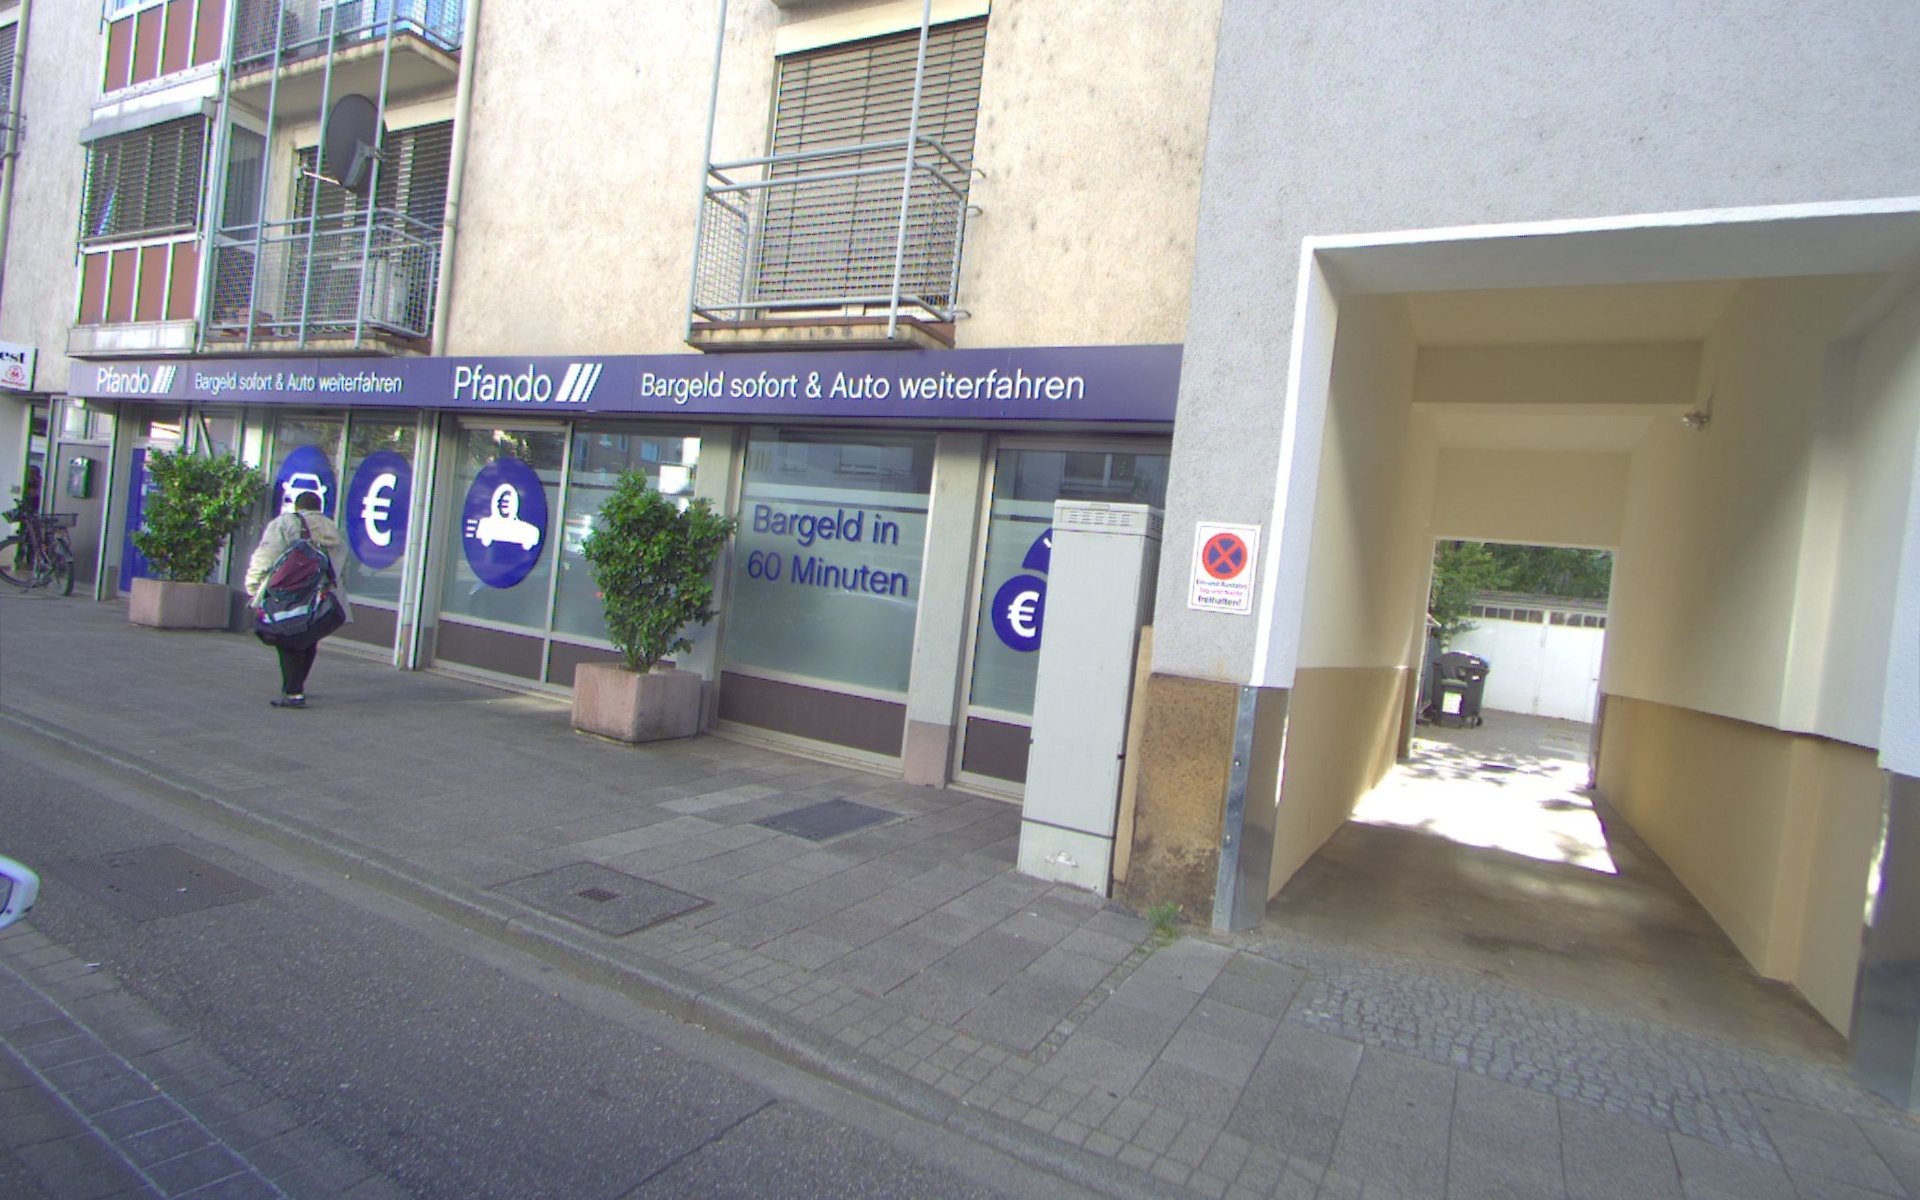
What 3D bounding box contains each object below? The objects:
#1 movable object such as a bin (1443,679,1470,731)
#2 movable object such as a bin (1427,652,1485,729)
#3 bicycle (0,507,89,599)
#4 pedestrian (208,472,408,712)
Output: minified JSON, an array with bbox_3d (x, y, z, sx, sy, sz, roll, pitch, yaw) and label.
[{"bbox_3d":[9.585,2.021,19.412,0.365,0.920,0.420,7,2,28],"label":"movable object such as a bin"},{"bbox_3d":[9.938,1.792,20.142,0.873,1.411,0.758,7,2,28],"label":"movable object such as a bin"},{"bbox_3d":[-11.859,-0.623,12.847,1.678,1.010,0.543,6,-1,32],"label":"bicycle"},{"bbox_3d":[-4.734,-0.040,7.328,0.738,1.611,0.827,6,-1,31],"label":"pedestrian"}]
